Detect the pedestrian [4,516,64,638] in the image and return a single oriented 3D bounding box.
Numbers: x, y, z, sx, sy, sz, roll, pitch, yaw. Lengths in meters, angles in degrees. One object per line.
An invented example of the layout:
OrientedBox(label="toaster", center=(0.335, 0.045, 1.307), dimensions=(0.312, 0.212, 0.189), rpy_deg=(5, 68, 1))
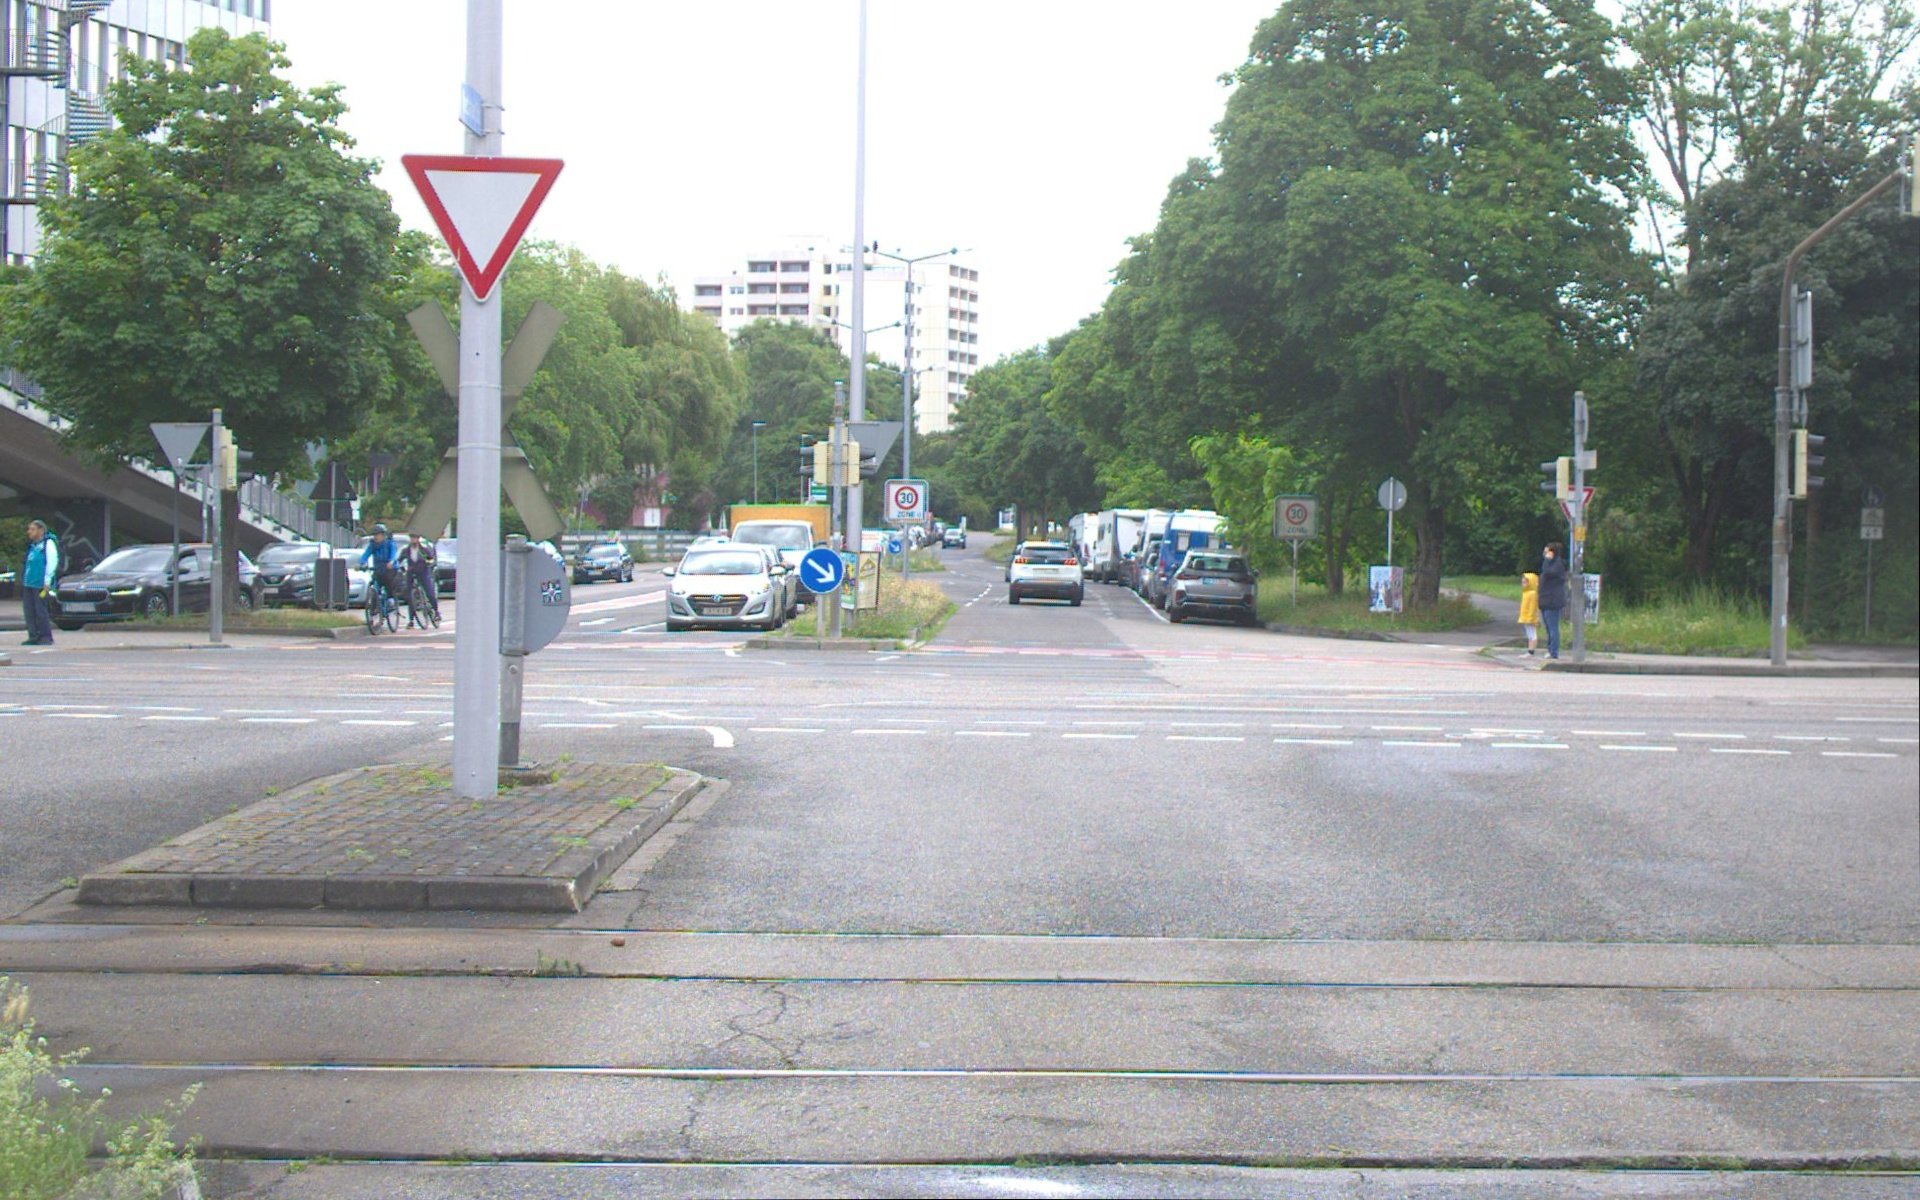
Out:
OrientedBox(label="pedestrian", center=(-12.343, -0.311, 45.835), dimensions=(0.687, 1.599, 0.488), rpy_deg=(1, 1, -5))

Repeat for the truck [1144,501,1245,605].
OrientedBox(label="truck", center=(6.147, -1.237, 90.723), dimensions=(2.174, 2.647, 6.247), rpy_deg=(0, 1, -1))

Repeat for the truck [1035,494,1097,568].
OrientedBox(label="truck", center=(4.380, -2.853, 142.924), dimensions=(1.993, 2.998, 5.773), rpy_deg=(1, 1, -4))

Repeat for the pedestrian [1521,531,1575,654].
OrientedBox(label="pedestrian", center=(8.405, -0.108, 49.184), dimensions=(0.657, 1.744, 0.459), rpy_deg=(1, 1, -1))

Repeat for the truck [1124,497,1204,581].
OrientedBox(label="truck", center=(7.096, -2.118, 120.065), dimensions=(1.993, 2.828, 5.732), rpy_deg=(1, 1, -4))

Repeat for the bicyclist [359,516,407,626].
OrientedBox(label="bicyclist", center=(-9.337, -0.469, 55.621), dimensions=(0.644, 1.762, 0.647), rpy_deg=(1, 1, -1))

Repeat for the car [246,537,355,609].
OrientedBox(label="car", center=(-14.860, -0.622, 77.647), dimensions=(1.671, 1.546, 3.892), rpy_deg=(1, 1, 0))

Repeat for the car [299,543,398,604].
OrientedBox(label="car", center=(-14.756, -0.657, 83.143), dimensions=(1.671, 1.382, 3.895), rpy_deg=(1, 1, 0))

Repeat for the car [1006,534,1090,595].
OrientedBox(label="car", center=(2.250, -0.929, 88.833), dimensions=(2.020, 1.500, 4.000), rpy_deg=(1, 1, -1))

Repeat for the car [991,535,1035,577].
OrientedBox(label="car", center=(1.936, -1.632, 126.684), dimensions=(1.554, 1.500, 4.000), rpy_deg=(1, 1, 0))

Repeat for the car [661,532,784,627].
OrientedBox(label="car", center=(-3.968, -0.376, 57.935), dimensions=(1.789, 1.514, 4.326), rpy_deg=(1, 1, -1))

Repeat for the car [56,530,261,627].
OrientedBox(label="car", center=(-13.538, -0.385, 58.277), dimensions=(1.673, 1.546, 3.997), rpy_deg=(1, 1, 15))

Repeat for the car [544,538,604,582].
OrientedBox(label="car", center=(-14.075, -1.472, 125.512), dimensions=(1.671, 1.546, 4.000), rpy_deg=(1, 1, 0))

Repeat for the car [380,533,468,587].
OrientedBox(label="car", center=(-14.481, -1.100, 93.011), dimensions=(1.763, 1.390, 4.000), rpy_deg=(1, 1, -1))

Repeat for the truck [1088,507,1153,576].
OrientedBox(label="truck", center=(6.158, -2.245, 132.138), dimensions=(1.993, 2.564, 5.379), rpy_deg=(1, 1, -2))

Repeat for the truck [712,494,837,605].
OrientedBox(label="truck", center=(-3.830, -1.077, 71.922), dimensions=(2.155, 2.191, 5.840), rpy_deg=(1, 1, 1))

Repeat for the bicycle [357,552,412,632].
OrientedBox(label="bicycle", center=(-9.365, -0.145, 55.979), dimensions=(0.543, 1.263, 2.111), rpy_deg=(1, 1, -1))

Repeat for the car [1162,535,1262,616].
OrientedBox(label="car", center=(5.391, -0.543, 73.931), dimensions=(1.784, 1.656, 4.000), rpy_deg=(1, 1, -1))

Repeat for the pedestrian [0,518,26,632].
OrientedBox(label="pedestrian", center=(-12.946, -0.343, 45.834), dimensions=(0.917, 1.505, 0.404), rpy_deg=(1, 1, -11))

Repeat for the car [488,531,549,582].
OrientedBox(label="car", center=(-13.713, -1.362, 106.896), dimensions=(1.444, 1.546, 3.664), rpy_deg=(1, 1, -1))

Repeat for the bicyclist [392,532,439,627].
OrientedBox(label="bicyclist", center=(-9.256, -0.354, 58.482), dimensions=(0.679, 1.589, 0.695), rpy_deg=(1, 0, -1))

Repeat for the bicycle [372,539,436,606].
OrientedBox(label="bicycle", center=(-9.398, -0.477, 58.186), dimensions=(0.726, 1.097, 2.264), rpy_deg=(1, 1, -1))

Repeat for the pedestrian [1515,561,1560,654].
OrientedBox(label="pedestrian", center=(8.374, 0.103, 49.845), dimensions=(0.527, 1.337, 0.525), rpy_deg=(1, 1, -1))
